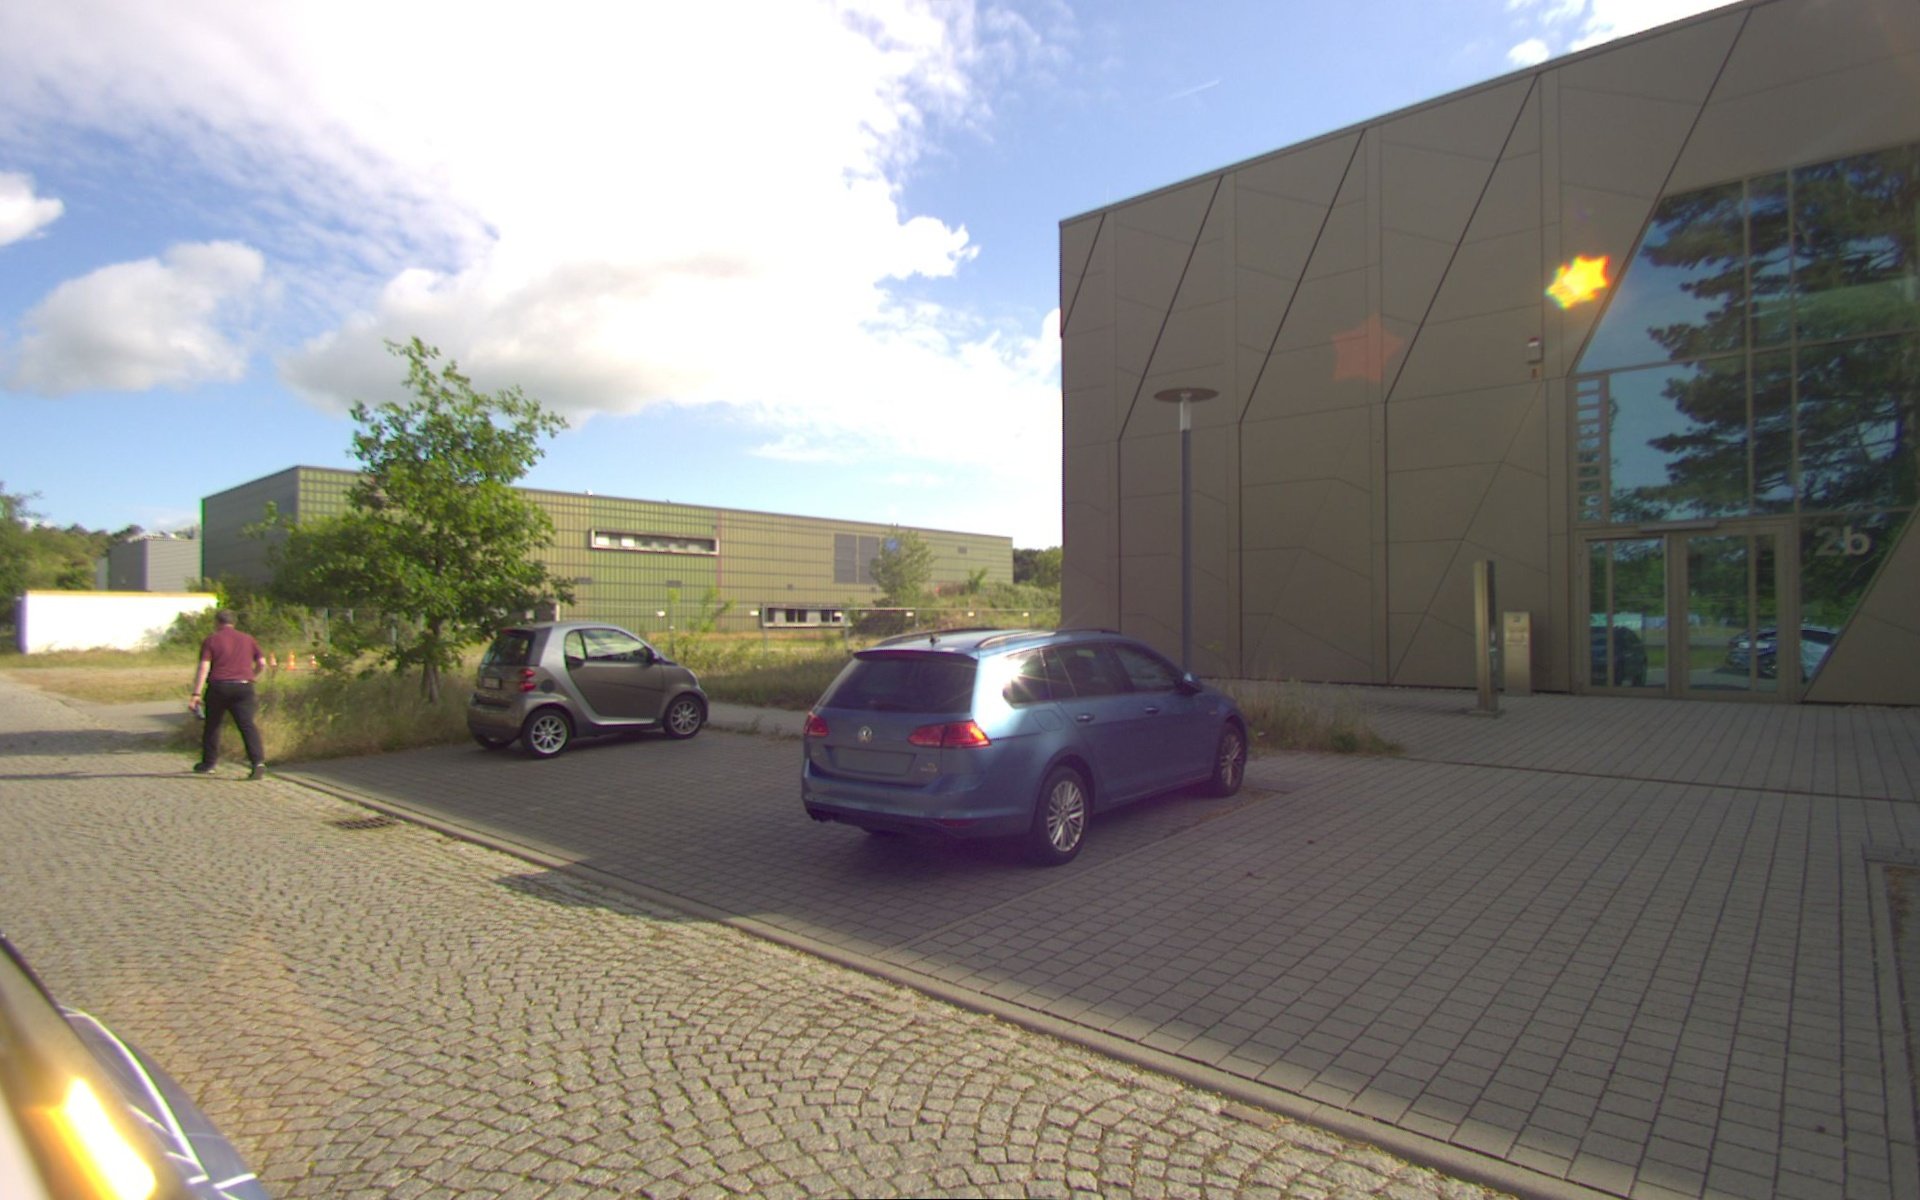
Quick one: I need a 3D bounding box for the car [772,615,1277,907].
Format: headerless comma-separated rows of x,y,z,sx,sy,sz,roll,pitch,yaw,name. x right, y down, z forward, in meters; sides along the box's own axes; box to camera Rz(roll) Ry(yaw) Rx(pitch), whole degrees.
0.766,0.917,7.666,1.679,1.475,4.215,-2,0,39,car

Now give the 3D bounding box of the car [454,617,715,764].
-4.645,1.027,12.704,1.518,1.554,2.671,-1,0,41,car

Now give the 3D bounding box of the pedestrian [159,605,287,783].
-7.873,0.961,10.817,1.151,1.785,0.796,-1,-2,38,pedestrian
